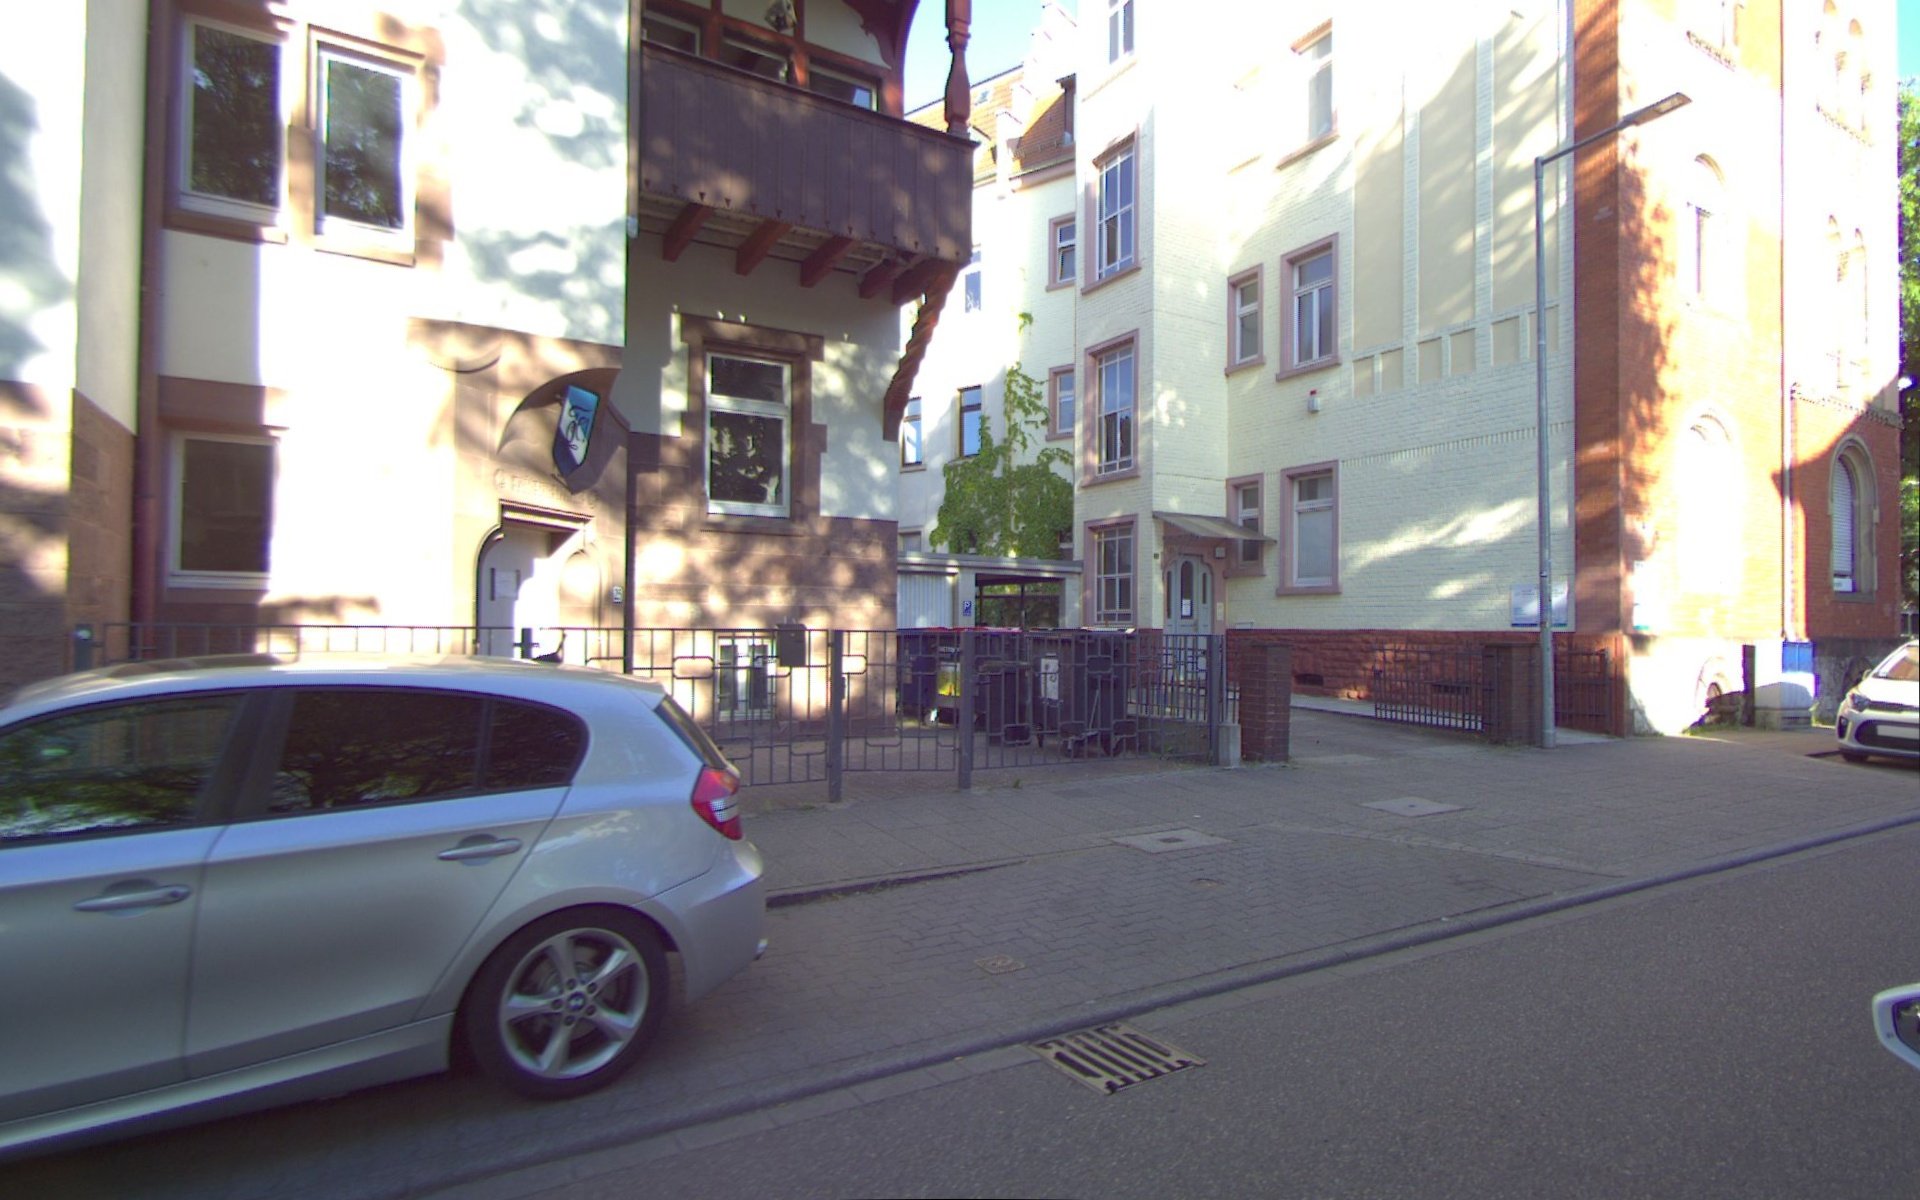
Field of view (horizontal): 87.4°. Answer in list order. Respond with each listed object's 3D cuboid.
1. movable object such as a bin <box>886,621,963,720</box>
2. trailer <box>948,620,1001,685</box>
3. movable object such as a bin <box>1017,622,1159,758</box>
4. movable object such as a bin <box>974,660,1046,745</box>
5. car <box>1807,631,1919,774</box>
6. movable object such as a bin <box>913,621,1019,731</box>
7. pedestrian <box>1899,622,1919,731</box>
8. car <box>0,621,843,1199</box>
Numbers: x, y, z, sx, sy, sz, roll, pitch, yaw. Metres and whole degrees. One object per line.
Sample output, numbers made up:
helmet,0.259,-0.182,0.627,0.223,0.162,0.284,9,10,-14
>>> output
movable object such as a bin,-0.517,0.965,14.146,0.623,1.327,1.196,1,-1,-28
trailer,0.260,1.055,20.212,0.757,1.234,2.410,0,-3,-7
movable object such as a bin,1.311,0.900,10.576,0.954,1.316,1.374,1,-1,-20
movable object such as a bin,0.549,1.117,11.095,0.662,0.890,0.480,1,-1,-21
car,11.933,1.166,11.930,3.753,1.505,1.697,2,0,-30
movable object such as a bin,0.065,0.948,13.008,0.681,1.335,1.370,1,-1,-37
pedestrian,14.646,1.147,15.097,0.846,1.626,0.596,2,-2,-34
car,-2.598,0.826,3.310,4.058,1.485,1.734,2,-1,-33
